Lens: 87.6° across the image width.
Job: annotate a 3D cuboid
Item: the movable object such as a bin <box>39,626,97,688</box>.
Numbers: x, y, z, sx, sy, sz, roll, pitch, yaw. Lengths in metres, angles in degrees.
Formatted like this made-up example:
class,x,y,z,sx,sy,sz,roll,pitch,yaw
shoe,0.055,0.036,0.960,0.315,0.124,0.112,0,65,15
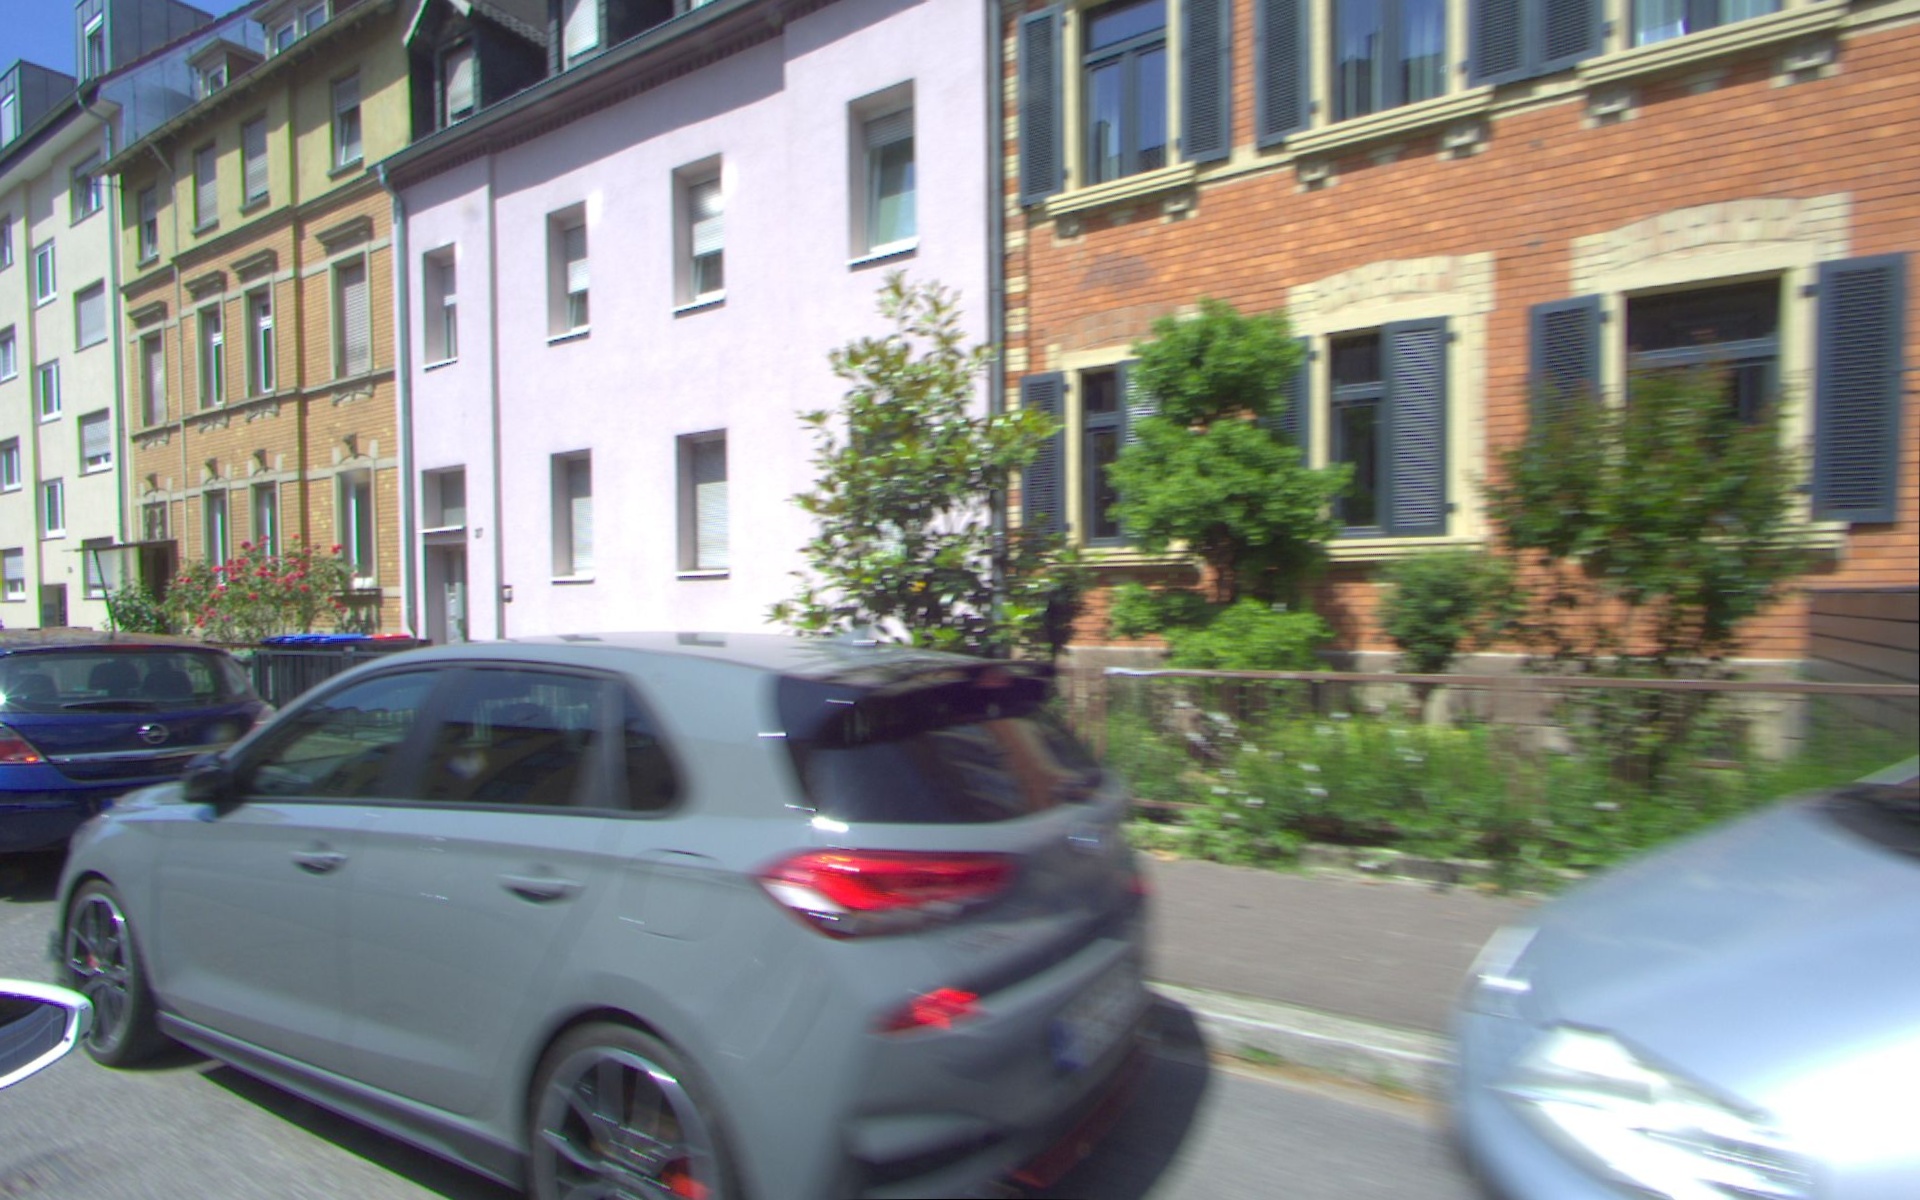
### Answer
class,x,y,z,sx,sy,sz,roll,pitch,yaw
movable object such as a bin,-17.657,1.113,19.819,0.840,1.192,0.666,0,-1,34

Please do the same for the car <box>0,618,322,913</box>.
class,x,y,z,sx,sy,sz,roll,pitch,yaw
car,-6.508,0.895,6.916,4.550,1.506,1.693,-1,-2,31

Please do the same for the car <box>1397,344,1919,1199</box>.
class,x,y,z,sx,sy,sz,roll,pitch,yaw
car,3.028,0.607,1.119,4.546,1.770,1.859,-1,-2,28

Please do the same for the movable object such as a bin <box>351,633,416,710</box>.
class,x,y,z,sx,sy,sz,roll,pitch,yaw
movable object such as a bin,-8.405,1.026,14.601,0.658,1.064,0.558,-1,1,30

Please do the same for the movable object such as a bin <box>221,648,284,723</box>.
class,x,y,z,sx,sy,sz,roll,pitch,yaw
movable object such as a bin,-9.323,1.116,13.191,0.556,0.925,0.467,0,1,30

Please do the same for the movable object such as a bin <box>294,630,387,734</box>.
class,x,y,z,sx,sy,sz,roll,pitch,yaw
movable object such as a bin,-6.933,0.892,11.208,0.674,1.097,0.650,0,1,34

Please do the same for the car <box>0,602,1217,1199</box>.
class,x,y,z,sx,sy,sz,roll,pitch,yaw
car,-1.439,0.808,3.557,4.244,1.506,1.859,-1,-2,29

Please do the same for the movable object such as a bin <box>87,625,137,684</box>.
class,x,y,z,sx,sy,sz,roll,pitch,yaw
movable object such as a bin,-17.287,1.098,20.412,0.617,1.192,0.637,0,-1,34

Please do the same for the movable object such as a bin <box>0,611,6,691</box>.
class,x,y,z,sx,sy,sz,roll,pitch,yaw
movable object such as a bin,-19.452,0.988,19.451,1.426,1.538,1.040,0,-1,34

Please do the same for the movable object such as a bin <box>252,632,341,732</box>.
class,x,y,z,sx,sy,sz,roll,pitch,yaw
movable object such as a bin,-7.703,0.928,11.632,0.674,1.097,0.650,0,1,34

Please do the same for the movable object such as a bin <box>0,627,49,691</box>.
class,x,y,z,sx,sy,sz,roll,pitch,yaw
movable object such as a bin,-18.034,1.116,19.214,0.840,1.202,0.637,0,-1,34
